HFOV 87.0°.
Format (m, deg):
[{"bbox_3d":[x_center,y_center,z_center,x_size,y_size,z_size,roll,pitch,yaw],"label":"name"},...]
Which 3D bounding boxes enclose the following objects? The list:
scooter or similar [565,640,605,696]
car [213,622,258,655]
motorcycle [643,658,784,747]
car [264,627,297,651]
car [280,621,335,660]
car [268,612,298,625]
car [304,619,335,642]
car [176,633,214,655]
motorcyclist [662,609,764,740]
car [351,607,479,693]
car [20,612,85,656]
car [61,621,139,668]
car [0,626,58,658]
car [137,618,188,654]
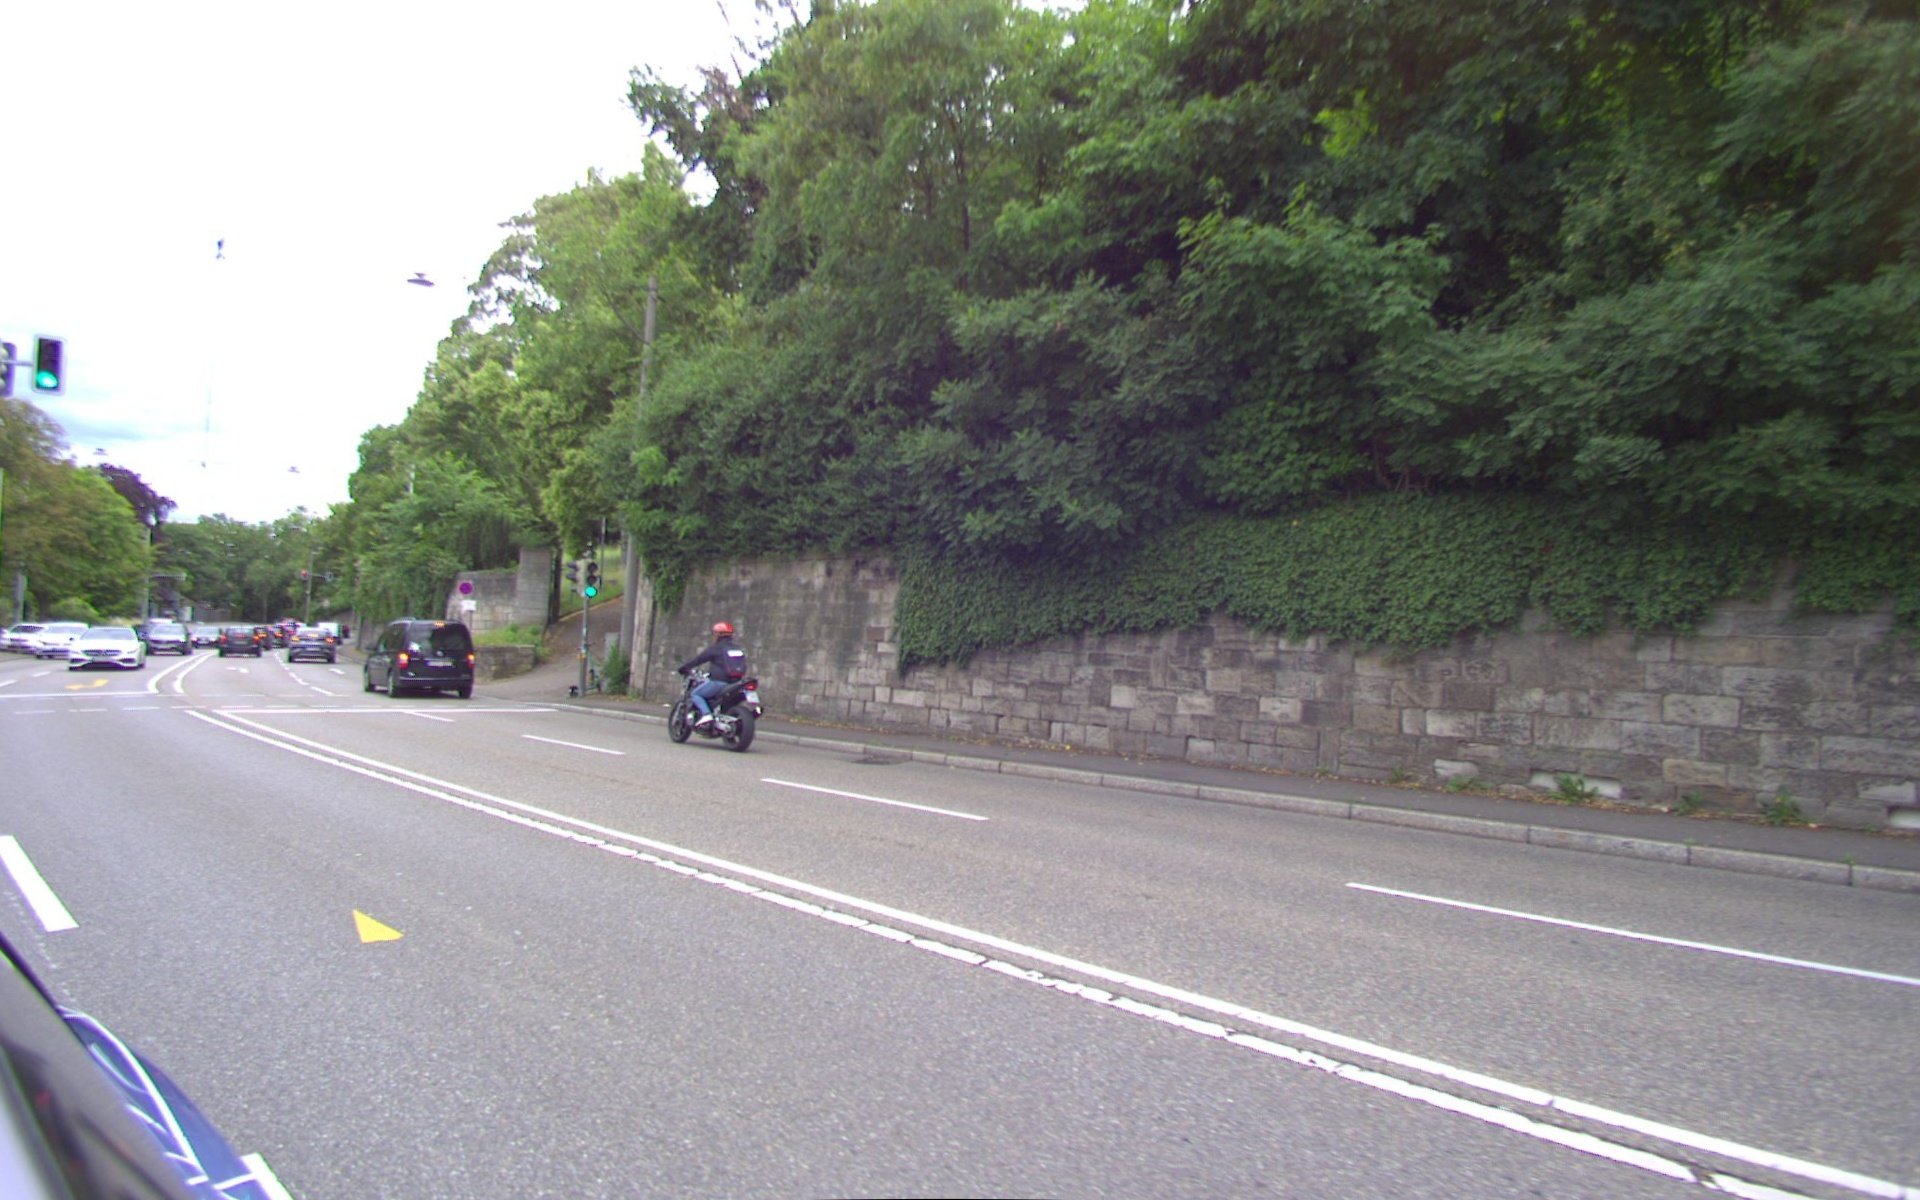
[{"bbox_3d":[-8.981,1.614,24.262,0.429,1.246,1.096,-2,1,5],"label":"scooter or similar"},{"bbox_3d":[-37.261,1.986,52.119,1.731,1.578,3.688,4,-4,-35],"label":"car"},{"bbox_3d":[-3.421,1.369,13.904,2.307,1.082,0.643,-1,-5,42],"label":"motorcycle"},{"bbox_3d":[-54.291,3.115,80.912,1.933,1.763,4.891,3,-3,-32],"label":"car"},{"bbox_3d":[-30.098,1.876,46.720,1.966,1.620,4.489,5,-4,-33],"label":"car"},{"bbox_3d":[-78.021,2.104,116.631,4.455,1.420,1.823,0,-4,43],"label":"car"},{"bbox_3d":[-53.964,2.589,85.251,1.867,1.862,4.407,4,-4,-35],"label":"car"},{"bbox_3d":[-51.156,2.958,67.749,1.806,1.387,4.010,3,-3,-35],"label":"car"},{"bbox_3d":[-3.401,1.003,13.908,1.338,1.718,0.641,-1,-5,42],"label":"motorcyclist"},{"bbox_3d":[-13.252,1.201,24.500,1.722,1.860,4.255,6,-5,-41],"label":"car"},{"bbox_3d":[-39.110,1.482,43.686,1.929,1.785,4.005,3,-4,-41],"label":"car"},{"bbox_3d":[-27.882,1.446,32.889,1.775,1.401,3.533,4,-4,-39],"label":"car"},{"bbox_3d":[-45.626,2.032,49.450,1.653,1.472,4.377,5,-4,-34],"label":"car"},{"bbox_3d":[-40.863,1.833,51.861,1.928,1.753,4.008,3,-3,-38],"label":"car"}]
